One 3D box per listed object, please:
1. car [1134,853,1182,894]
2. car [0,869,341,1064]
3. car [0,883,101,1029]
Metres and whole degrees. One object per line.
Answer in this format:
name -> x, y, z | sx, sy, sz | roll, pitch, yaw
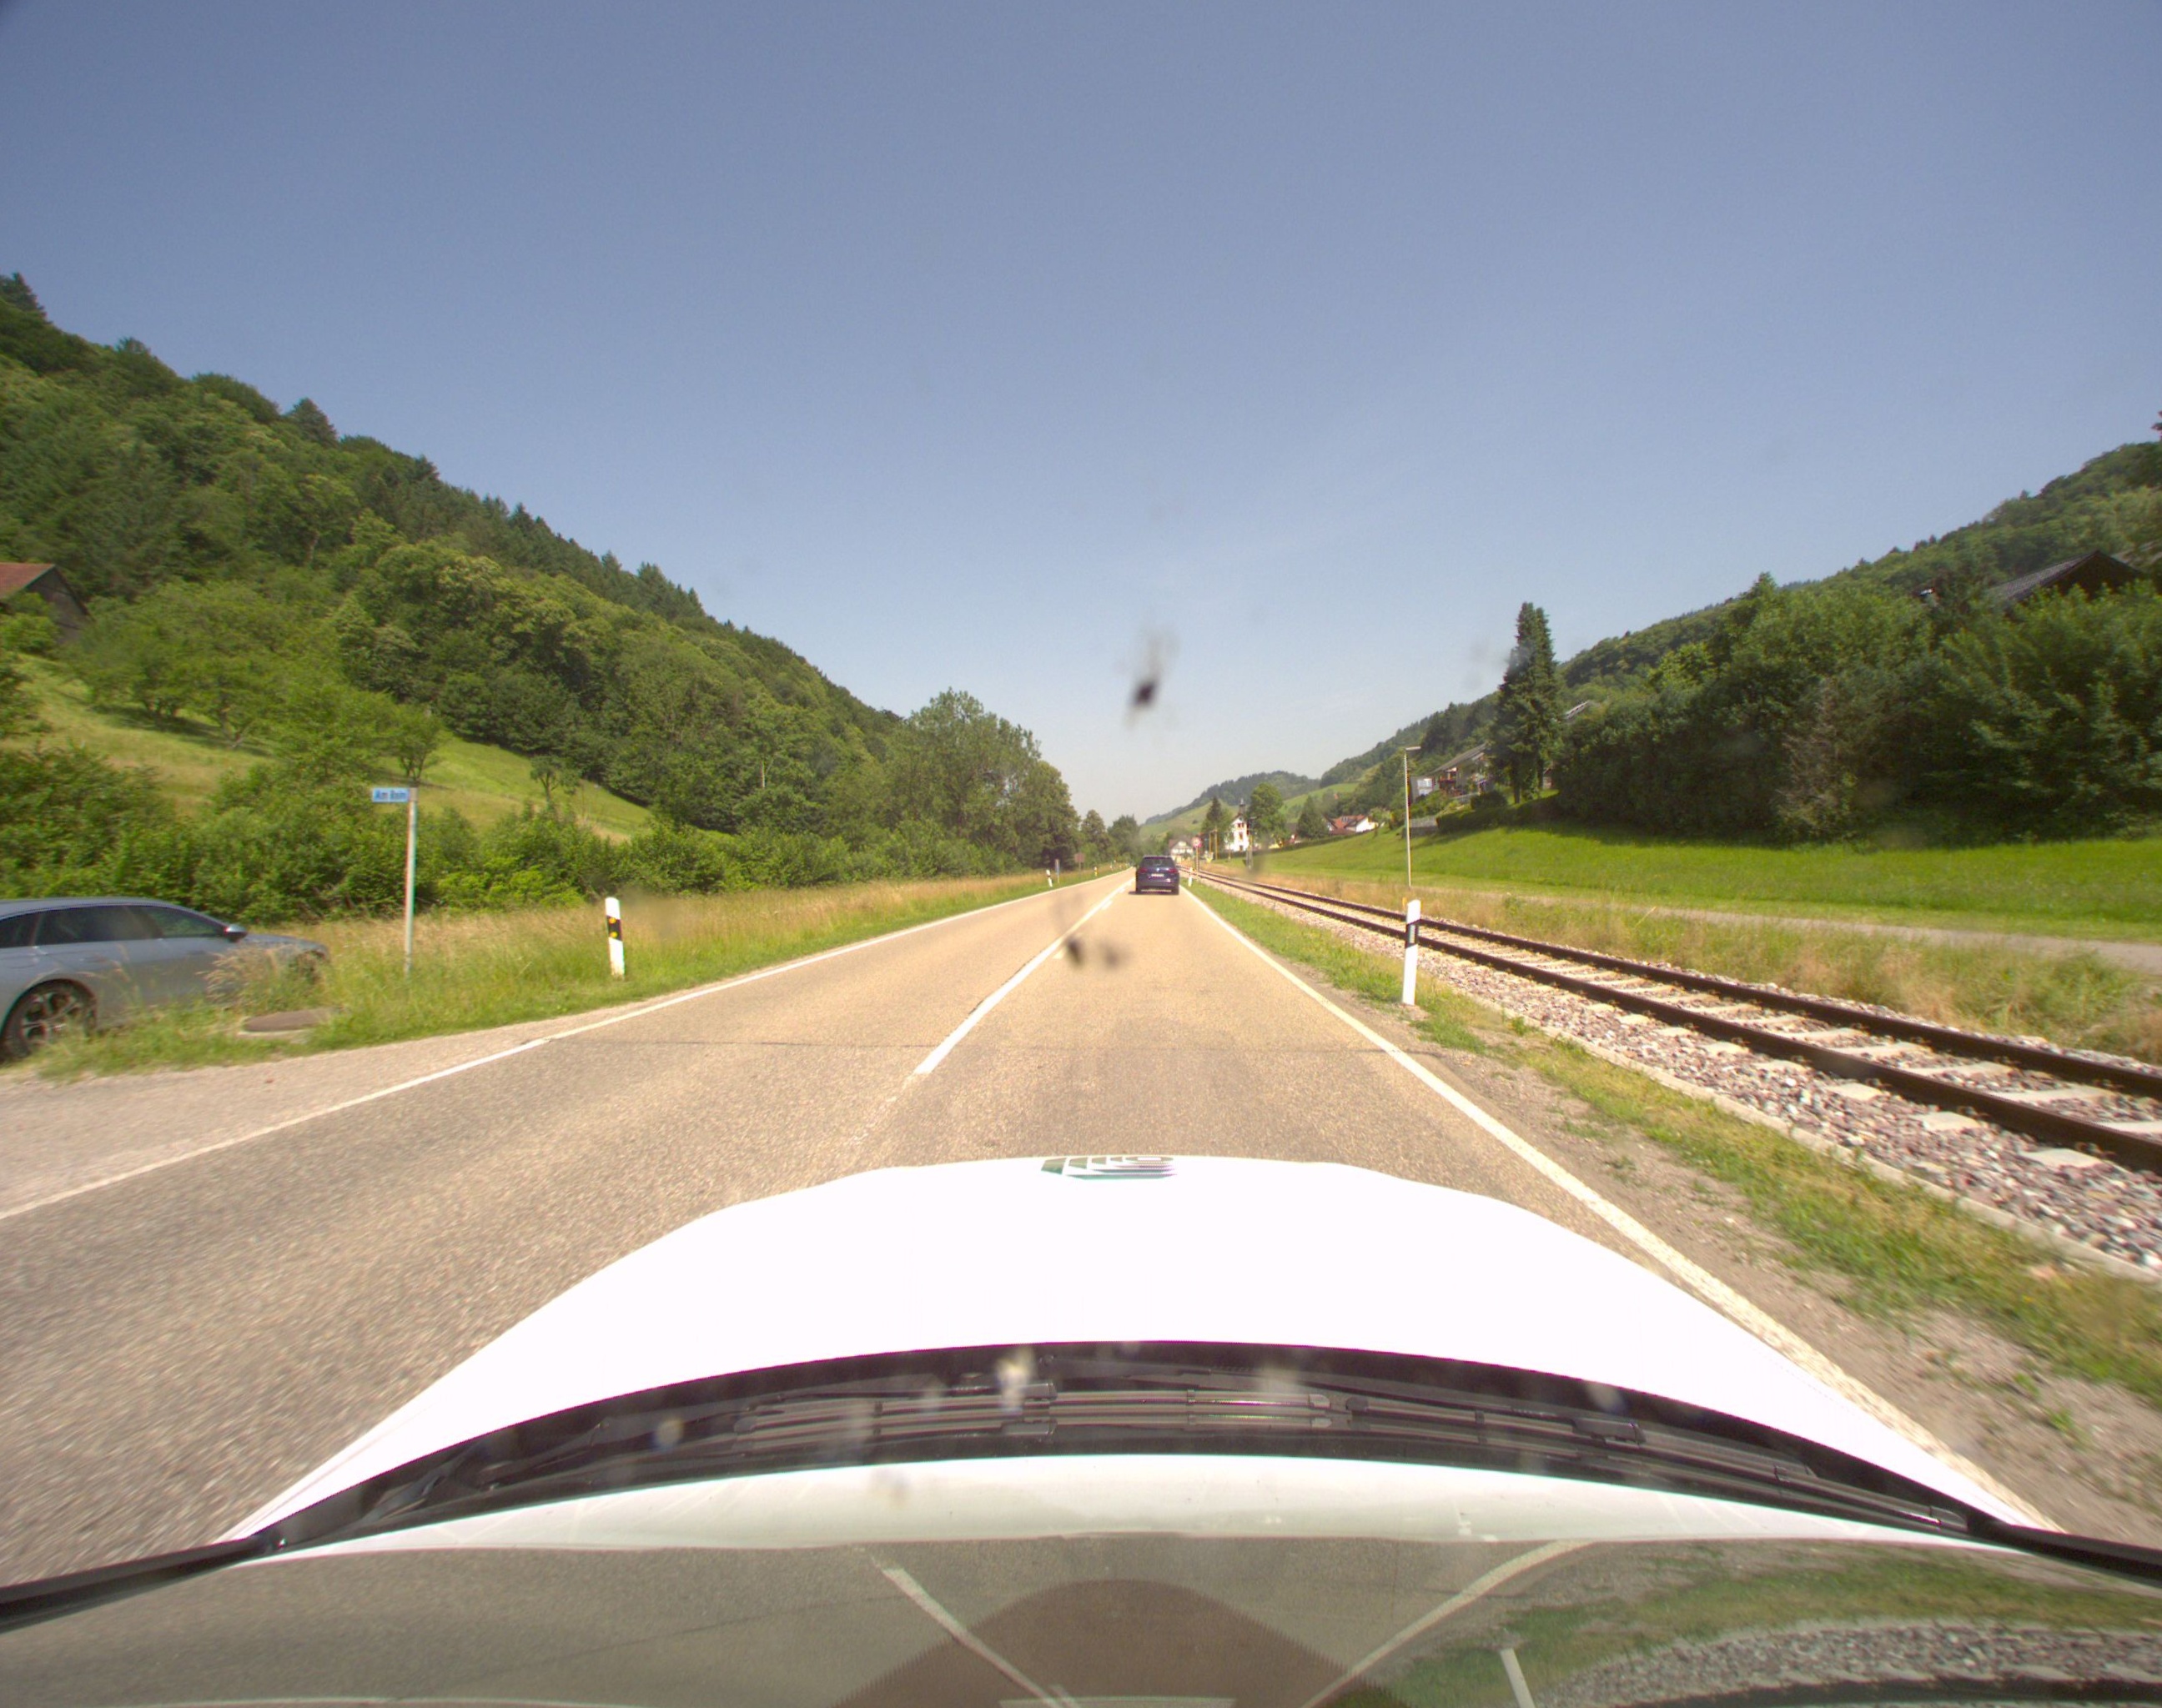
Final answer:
car -> 3.218, 0.804, 34.811 | 1.845, 1.649, 4.142 | 0, -1, 2
car -> -10.162, 1.055, 8.153 | 1.824, 1.500, 4.267 | -5, 2, -7
car -> -13.442, 1.206, 7.961 | 1.985, 1.652, 4.624 | -3, -1, 3
